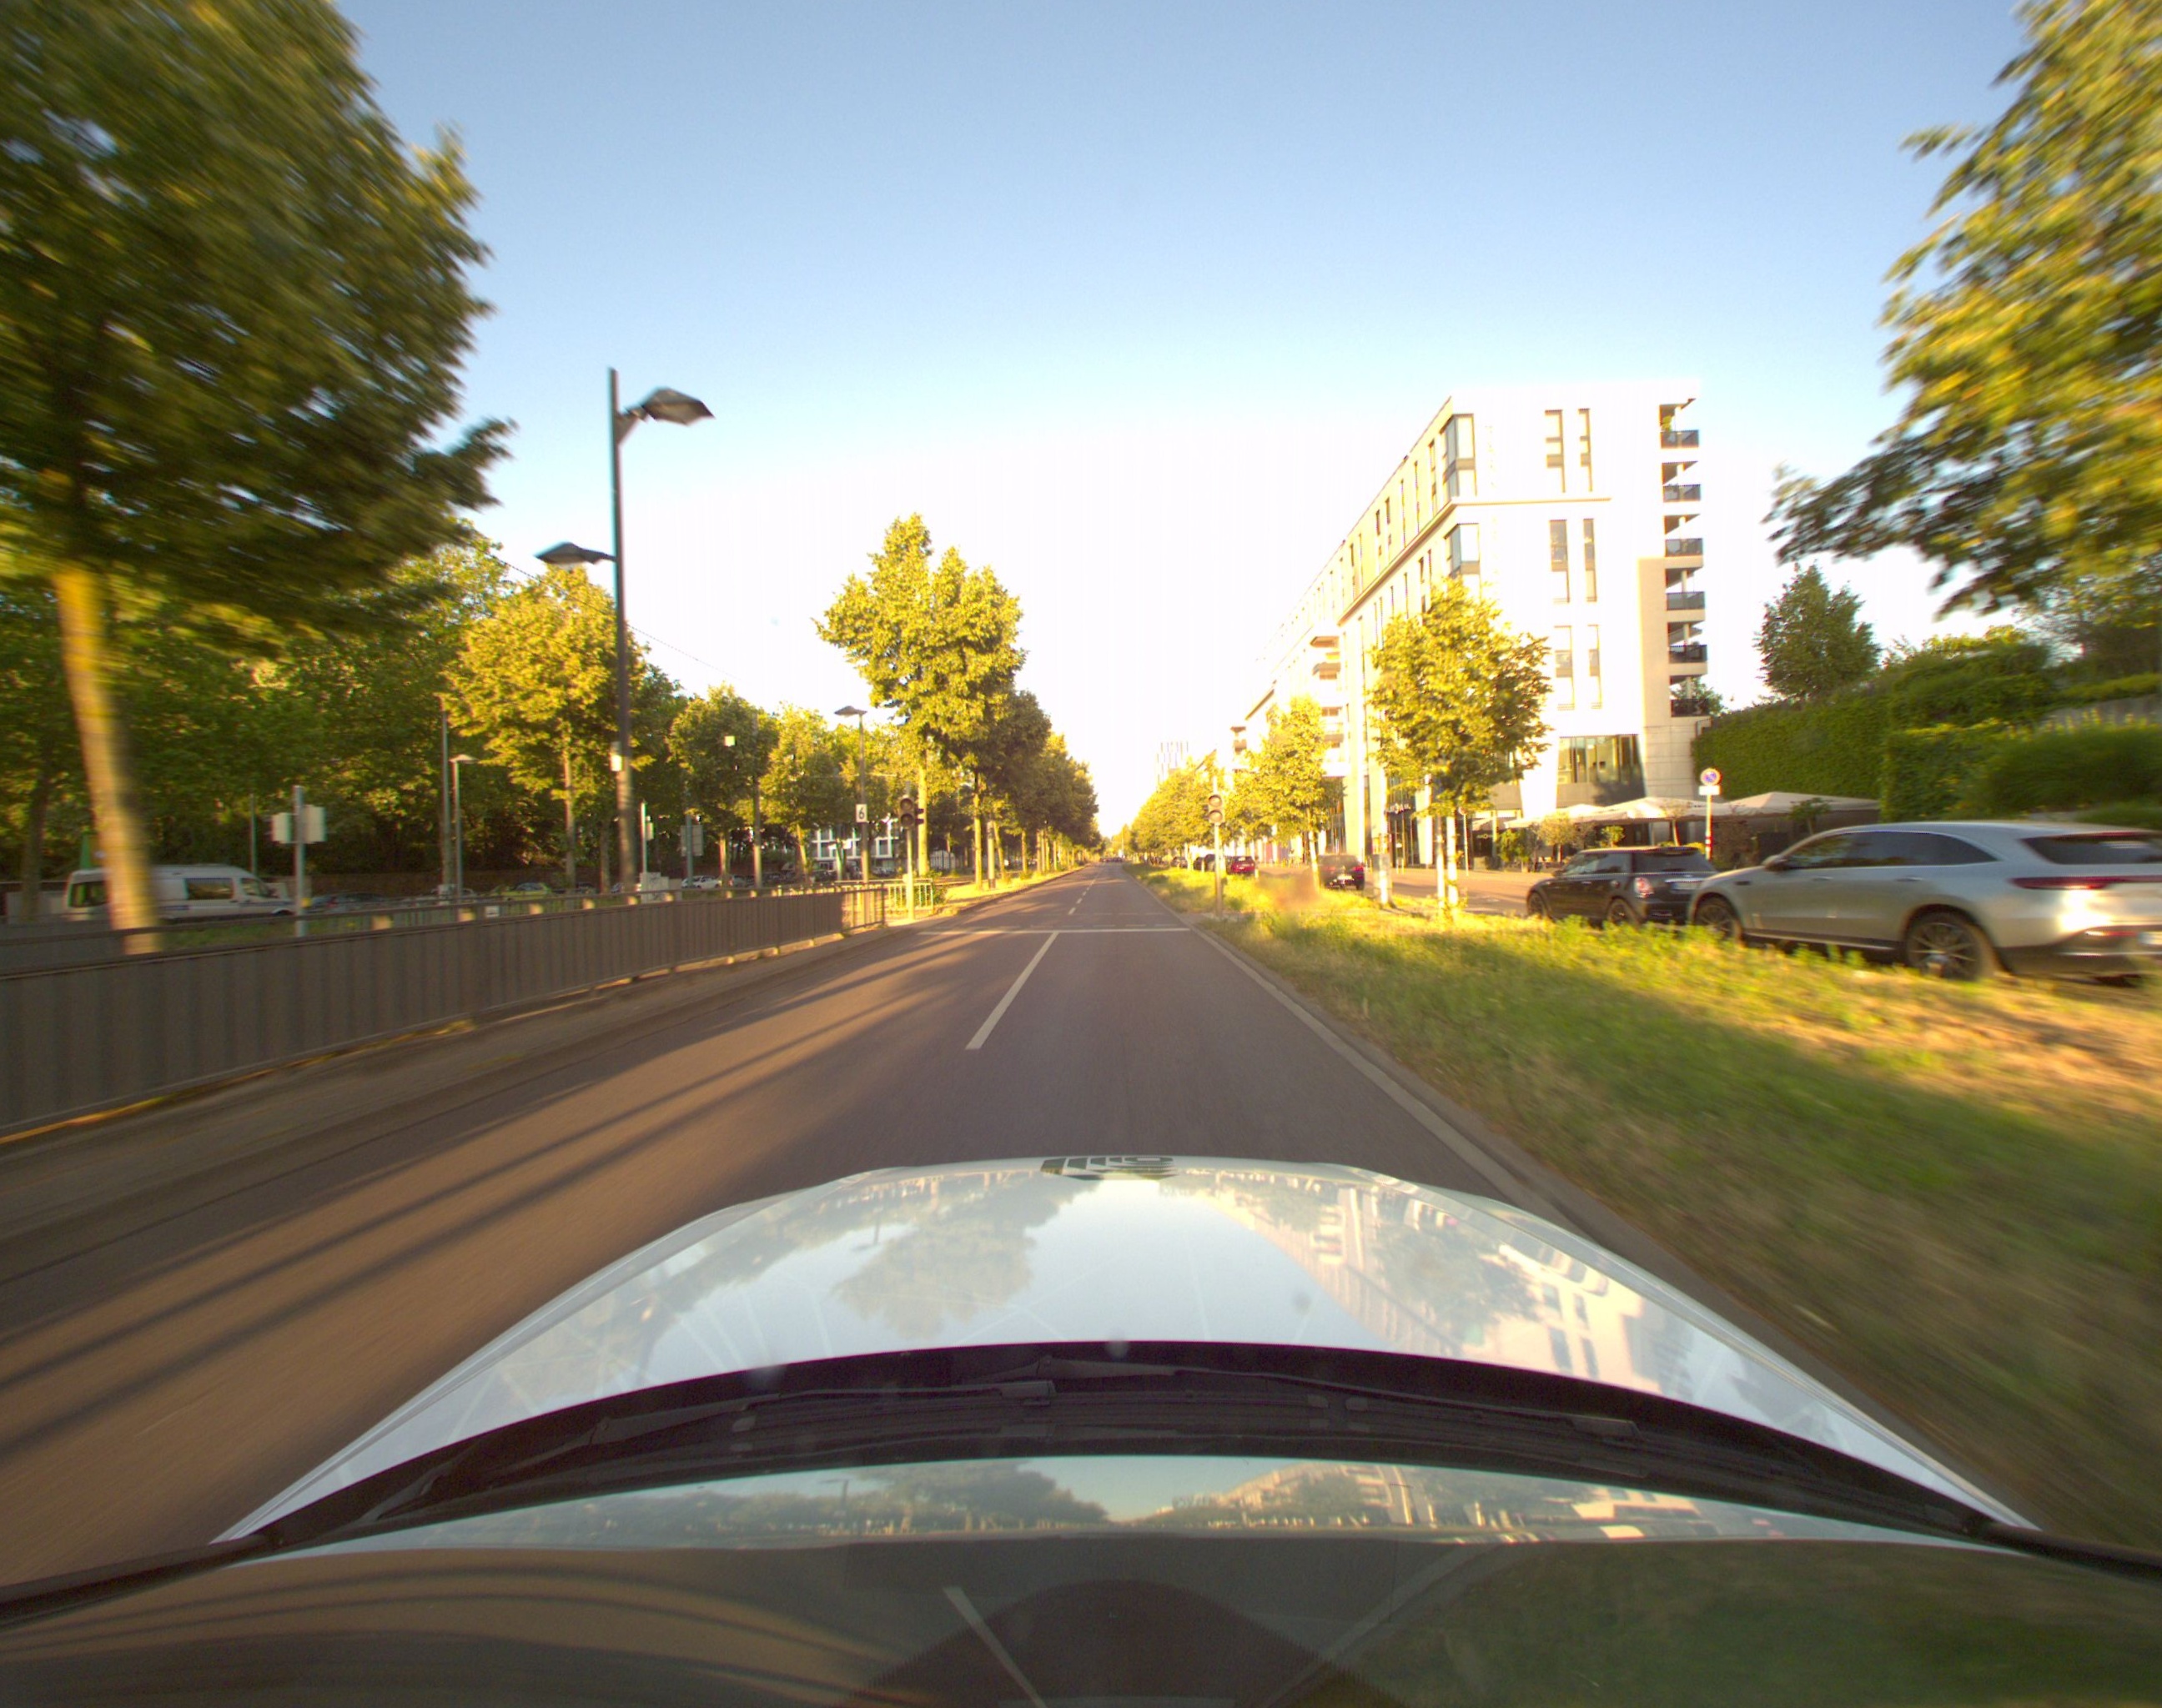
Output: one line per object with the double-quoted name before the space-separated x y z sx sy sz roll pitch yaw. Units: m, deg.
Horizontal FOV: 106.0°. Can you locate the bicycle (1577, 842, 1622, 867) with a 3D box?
"bicycle" 24.457 0.004 38.410 1.790 1.107 0.500 -2 -1 -3

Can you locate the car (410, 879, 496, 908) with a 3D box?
"car" -38.274 2.401 49.769 1.851 1.492 4.055 -2 0 5

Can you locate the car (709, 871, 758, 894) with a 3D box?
"car" -29.615 2.372 69.504 1.983 1.750 4.168 -2 -1 7

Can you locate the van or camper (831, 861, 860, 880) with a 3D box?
"van or camper" -41.124 2.833 142.412 2.697 3.085 6.272 -2 0 6

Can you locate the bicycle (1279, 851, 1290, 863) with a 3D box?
"bicycle" 18.662 0.303 74.639 0.532 1.059 1.610 -2 -1 -3

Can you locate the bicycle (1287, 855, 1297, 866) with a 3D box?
"bicycle" 20.419 0.622 78.820 0.540 1.118 1.915 -2 0 5

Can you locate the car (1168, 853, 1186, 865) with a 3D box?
"car" 12.327 0.657 104.308 1.802 1.501 4.826 -2 0 1

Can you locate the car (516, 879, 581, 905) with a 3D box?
"car" -37.417 2.639 57.318 1.757 1.596 3.844 -2 0 5

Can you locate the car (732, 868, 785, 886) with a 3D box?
"car" -27.074 1.902 68.611 1.983 1.315 5.150 -2 0 6

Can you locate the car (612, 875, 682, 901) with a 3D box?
"car" -28.644 2.196 53.896 1.985 1.499 4.560 -2 0 3

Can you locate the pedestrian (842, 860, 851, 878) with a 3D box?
"pedestrian" -24.147 1.537 83.955 0.692 1.870 0.864 -2 -1 -6

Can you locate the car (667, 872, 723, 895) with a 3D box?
"car" -28.188 2.129 59.636 1.892 1.499 4.309 -2 0 3

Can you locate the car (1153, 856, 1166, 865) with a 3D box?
"car" 14.268 1.209 148.229 1.937 1.549 4.811 -2 0 0

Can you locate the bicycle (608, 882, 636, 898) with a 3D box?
"bicycle" -34.132 2.660 60.637 0.727 1.091 2.020 -2 0 7

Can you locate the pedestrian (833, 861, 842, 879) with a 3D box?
"pedestrian" -24.981 1.620 83.682 0.692 1.759 0.864 -2 -1 -6

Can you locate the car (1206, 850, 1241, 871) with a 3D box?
"car" 10.998 0.462 63.025 1.914 1.501 5.011 -2 0 1

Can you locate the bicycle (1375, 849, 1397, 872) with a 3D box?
"bicycle" 17.633 0.372 47.083 0.615 1.231 1.670 -2 0 0

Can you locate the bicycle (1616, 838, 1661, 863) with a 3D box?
"bicycle" 26.453 -0.159 38.630 1.790 1.107 0.500 -2 -1 -3

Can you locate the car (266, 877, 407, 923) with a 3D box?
"car" -31.069 1.878 34.193 1.987 1.636 4.209 -2 0 0

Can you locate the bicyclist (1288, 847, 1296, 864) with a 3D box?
"bicyclist" 20.406 0.137 78.884 0.542 1.568 1.021 -2 0 5

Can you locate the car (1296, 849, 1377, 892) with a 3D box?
"car" 9.796 0.607 31.543 1.802 1.501 4.369 -2 0 1

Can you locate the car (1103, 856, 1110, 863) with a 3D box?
"car" 7.410 1.680 239.651 2.080 2.013 4.001 -2 0 1

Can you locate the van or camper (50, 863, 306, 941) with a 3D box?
"van or camper" -31.741 1.567 29.015 2.272 2.365 5.793 -2 0 7

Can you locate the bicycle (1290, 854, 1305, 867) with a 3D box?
"bicycle" 18.239 0.528 68.677 0.618 1.033 2.261 -2 0 1

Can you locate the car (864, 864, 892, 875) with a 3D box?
"car" -32.916 2.533 131.983 3.976 1.640 1.921 -2 0 -2

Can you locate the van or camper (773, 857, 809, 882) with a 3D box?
"van or camper" -34.020 1.768 95.672 2.078 2.735 5.495 -2 -1 0

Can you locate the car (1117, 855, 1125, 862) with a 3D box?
"car" 11.358 1.264 230.874 1.986 2.013 4.001 -2 0 1

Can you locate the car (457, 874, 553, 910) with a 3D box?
"car" -29.837 1.944 42.364 1.985 1.640 4.003 -2 0 2

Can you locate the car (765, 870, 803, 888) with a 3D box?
"car" -28.154 2.362 77.359 1.794 1.560 3.844 -2 0 6

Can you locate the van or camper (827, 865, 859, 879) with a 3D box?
"van or camper" -33.892 2.619 116.038 3.985 1.791 1.994 -2 0 -9

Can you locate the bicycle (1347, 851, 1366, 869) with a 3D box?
"bicycle" 17.906 0.374 52.999 0.544 1.128 1.868 -3 0 0

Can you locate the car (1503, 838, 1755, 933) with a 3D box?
"car" 9.265 0.471 14.227 1.743 1.398 4.001 -1 0 1

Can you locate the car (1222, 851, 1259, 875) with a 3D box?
"car" 10.829 0.615 55.430 1.802 1.501 3.960 -2 0 1

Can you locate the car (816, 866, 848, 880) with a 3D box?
"car" -27.848 2.117 91.267 1.984 1.486 4.005 -2 0 5

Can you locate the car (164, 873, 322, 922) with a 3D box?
"car" -39.721 1.996 38.818 1.984 2.013 5.066 -2 0 5

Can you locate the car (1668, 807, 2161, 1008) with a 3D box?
"car" 9.105 0.427 9.068 1.802 1.632 4.677 -2 0 1

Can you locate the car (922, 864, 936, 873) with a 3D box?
"car" -29.886 2.791 160.231 1.852 1.581 3.494 -2 0 3

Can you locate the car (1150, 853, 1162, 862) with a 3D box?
"car" 14.301 0.661 155.479 1.847 1.530 4.484 -1 0 2

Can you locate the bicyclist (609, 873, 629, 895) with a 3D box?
"bicyclist" -34.208 2.209 60.246 0.724 1.533 1.088 -2 0 7

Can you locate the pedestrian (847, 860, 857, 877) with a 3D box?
"pedestrian" -23.432 1.471 83.441 0.691 1.743 0.866 -2 -1 0

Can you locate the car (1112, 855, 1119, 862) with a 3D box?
"car" 10.460 1.423 246.536 1.986 2.013 4.003 -2 0 2

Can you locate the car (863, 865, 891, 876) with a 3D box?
"car" -32.406 2.640 129.453 3.976 1.640 1.921 -2 0 -2
